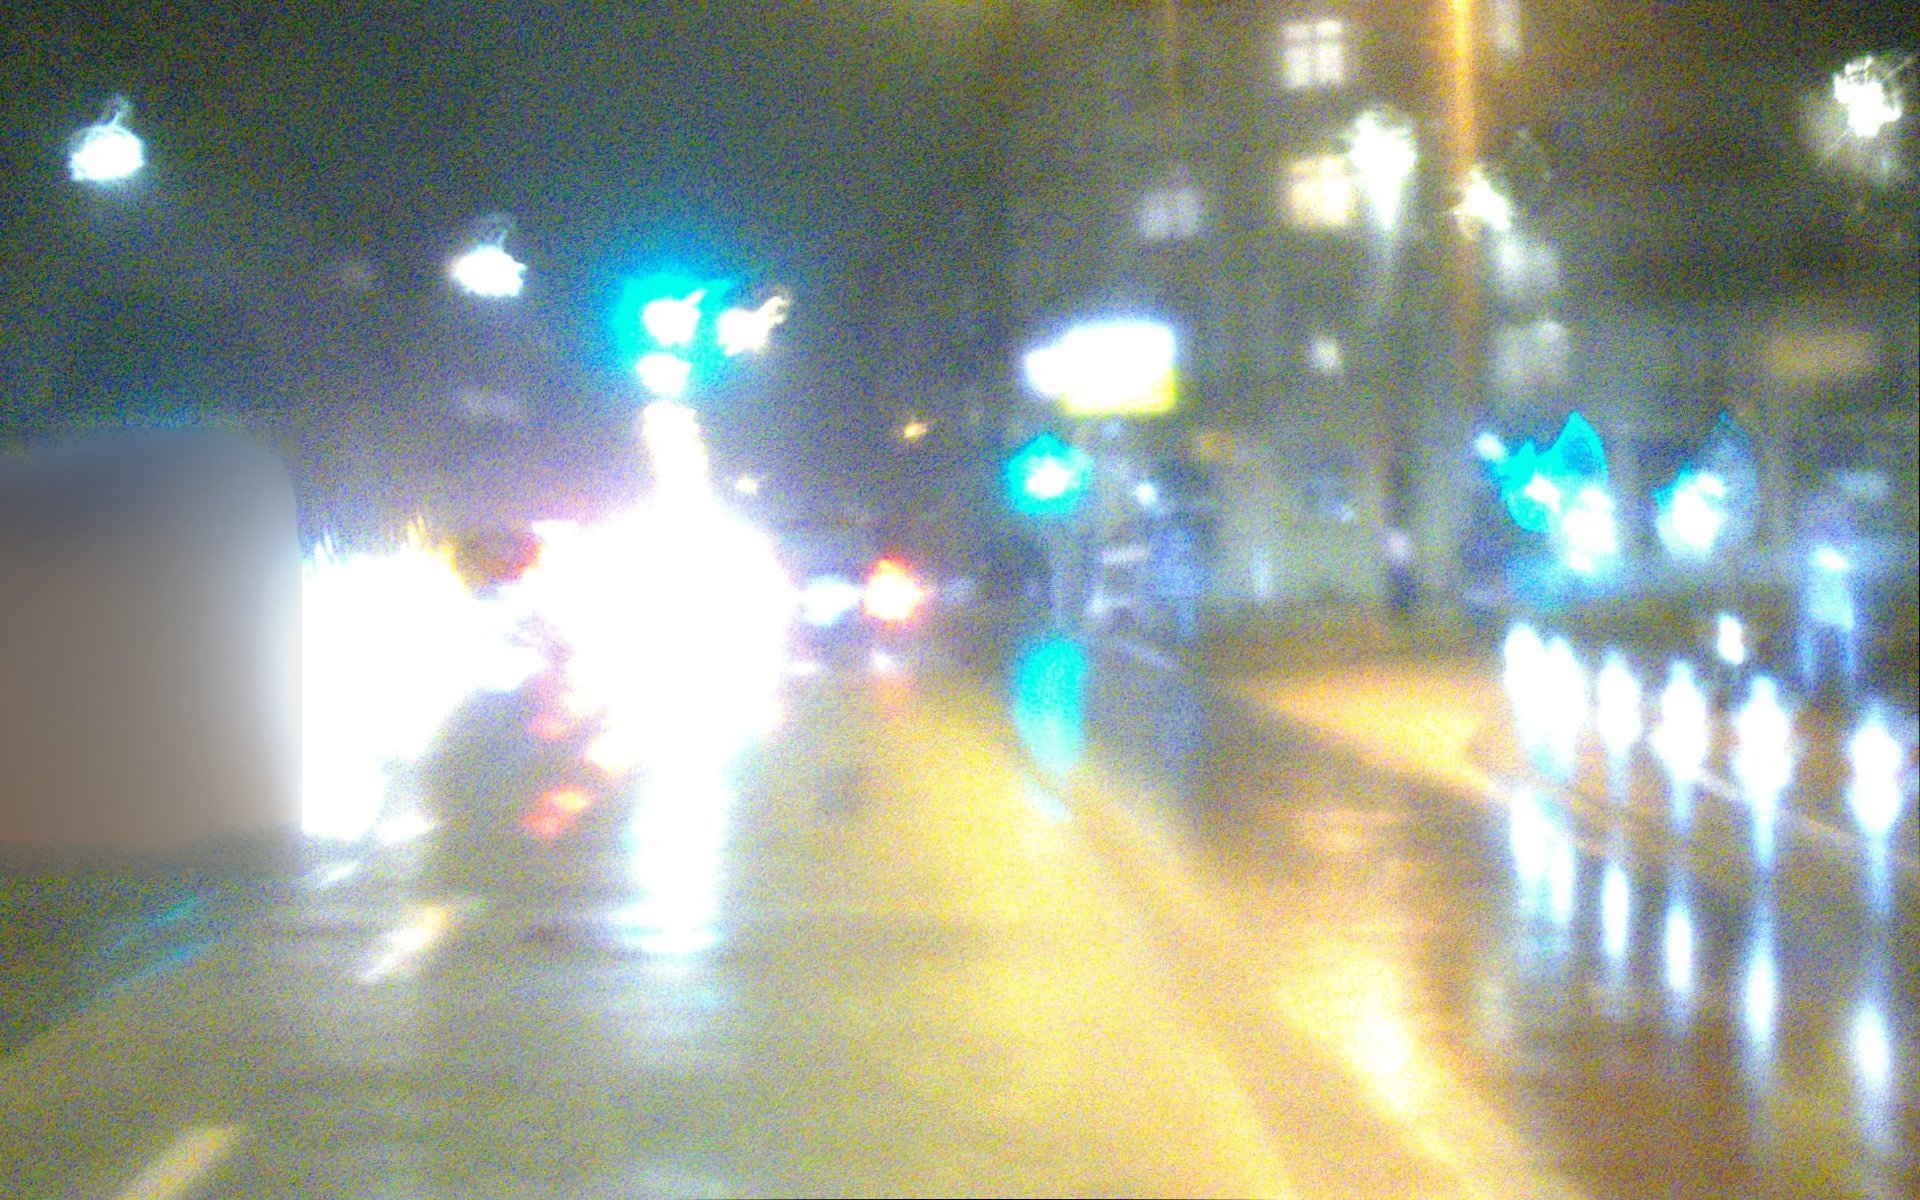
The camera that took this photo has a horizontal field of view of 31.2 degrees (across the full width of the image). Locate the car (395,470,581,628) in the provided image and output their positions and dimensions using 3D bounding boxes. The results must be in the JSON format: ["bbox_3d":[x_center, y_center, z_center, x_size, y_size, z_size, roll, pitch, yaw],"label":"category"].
[{"bbox_3d":[-6.372,-0.725,46.947,2.034,1.947,5.201,-3,2,-3],"label":"car"}]

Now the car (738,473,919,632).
[{"bbox_3d":[-1.796,-0.621,45.538,2.168,1.965,4.302,-1,1,-5],"label":"car"}]

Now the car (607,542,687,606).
[{"bbox_3d":[-7.878,-0.655,86.310,1.706,1.537,3.990,-1,0,-9],"label":"car"}]

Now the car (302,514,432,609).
[{"bbox_3d":[-9.926,-0.676,57.832,1.852,1.494,4.771,-1,1,-6],"label":"car"}]

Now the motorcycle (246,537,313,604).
[{"bbox_3d":[-12.067,-0.532,61.008,0.701,1.135,2.175,-1,1,1],"label":"motorcycle"}]

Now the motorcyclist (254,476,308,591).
[{"bbox_3d":[-12.067,-1.182,61.119,0.693,2.007,0.982,-1,1,1],"label":"motorcyclist"}]

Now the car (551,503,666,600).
[{"bbox_3d":[-5.902,-0.805,57.680,1.817,1.537,4.727,-1,0,-6],"label":"car"}]

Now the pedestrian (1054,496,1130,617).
[{"bbox_3d":[2.019,-0.676,52.638,1.107,1.819,0.851,-1,1,0],"label":"pedestrian"}]

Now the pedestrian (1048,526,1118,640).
[{"bbox_3d":[2.012,-0.284,56.281,1.107,1.819,0.851,-1,1,2],"label":"pedestrian"}]
